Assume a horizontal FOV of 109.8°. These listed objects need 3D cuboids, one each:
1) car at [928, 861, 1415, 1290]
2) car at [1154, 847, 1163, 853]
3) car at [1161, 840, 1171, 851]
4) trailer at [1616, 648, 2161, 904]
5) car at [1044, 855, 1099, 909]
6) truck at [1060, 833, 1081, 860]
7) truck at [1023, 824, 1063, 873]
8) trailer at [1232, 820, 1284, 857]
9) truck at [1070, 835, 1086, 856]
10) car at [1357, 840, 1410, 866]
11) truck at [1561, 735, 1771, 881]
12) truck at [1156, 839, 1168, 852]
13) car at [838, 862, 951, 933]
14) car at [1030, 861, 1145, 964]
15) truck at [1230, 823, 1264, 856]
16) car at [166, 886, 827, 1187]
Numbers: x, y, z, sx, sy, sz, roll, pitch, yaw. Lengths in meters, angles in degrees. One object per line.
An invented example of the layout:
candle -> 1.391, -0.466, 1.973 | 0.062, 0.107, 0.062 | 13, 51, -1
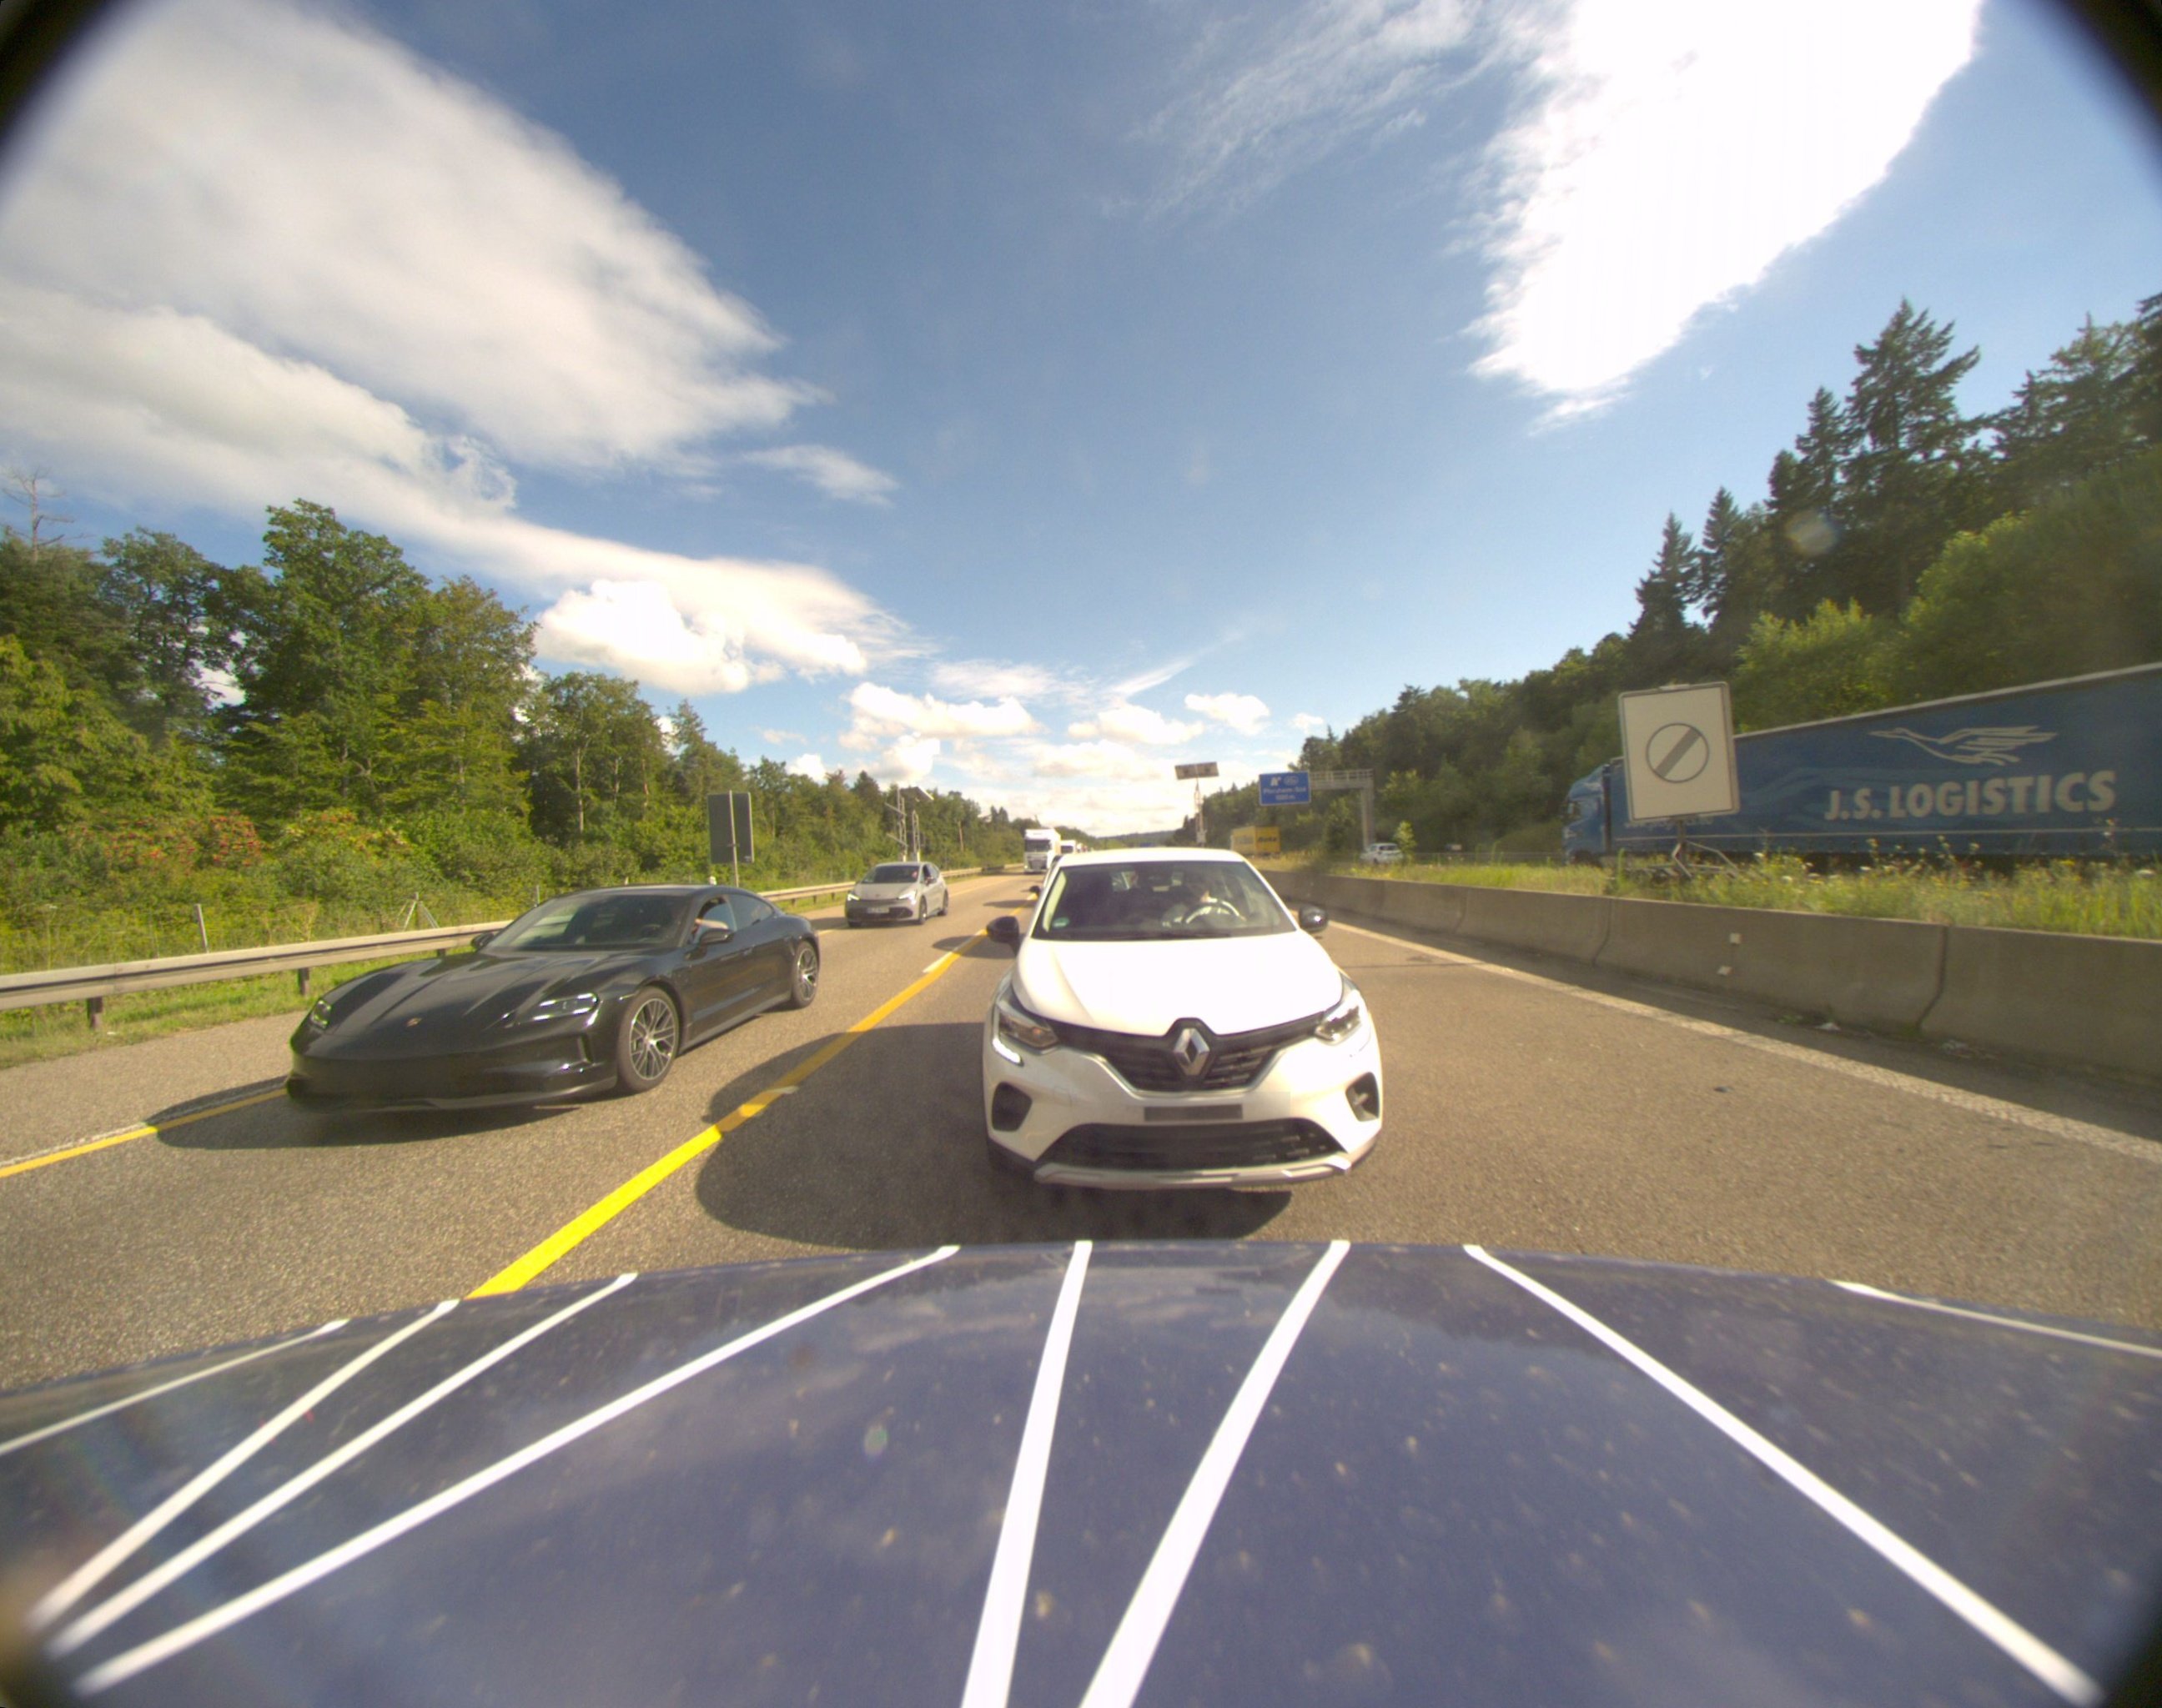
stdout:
car -> 0.382, 0.887, 4.899 | 1.840, 1.528, 3.882 | -2, 1, 1
car -> 20.610, -1.033, 202.699 | 1.963, 1.355, 4.287 | -2, 1, 1
car -> 26.773, -2.567, 239.563 | 2.493, 3.351, 7.451 | -2, 1, 0
trailer -> 18.778, -1.324, 18.142 | 2.626, 4.117, 13.371 | -2, 0, 1
car -> -0.256, 0.839, 24.917 | 1.633, 1.548, 3.754 | -2, 1, 1
truck -> -1.657, -1.255, 120.955 | 2.640, 4.093, 8.196 | -2, 1, 3
truck -> -3.363, -0.536, 69.662 | 2.640, 4.093, 8.196 | -2, 1, 3
trailer -> 20.367, -1.738, 88.348 | 2.834, 3.900, 13.938 | -2, 1, 1
truck -> -0.666, -1.765, 158.031 | 2.640, 4.093, 8.196 | -2, 1, 3
car -> 19.325, -0.085, 48.743 | 1.791, 1.551, 3.999 | -2, 1, 1
truck -> 18.869, -1.363, 25.002 | 2.644, 4.165, 5.467 | -2, 1, 1
truck -> 27.497, -2.864, 258.226 | 2.807, 3.969, 10.185 | -3, 0, 1
car -> -4.562, 1.007, 19.207 | 1.762, 1.471, 3.967 | -2, 1, 1
car -> 0.131, 0.905, 13.302 | 1.692, 1.471, 3.754 | -2, 0, 1
truck -> 20.409, -1.777, 93.830 | 2.834, 3.886, 5.948 | -2, 1, 1
car -> -3.896, 1.084, 6.328 | 1.933, 1.342, 4.477 | -2, 0, 1
